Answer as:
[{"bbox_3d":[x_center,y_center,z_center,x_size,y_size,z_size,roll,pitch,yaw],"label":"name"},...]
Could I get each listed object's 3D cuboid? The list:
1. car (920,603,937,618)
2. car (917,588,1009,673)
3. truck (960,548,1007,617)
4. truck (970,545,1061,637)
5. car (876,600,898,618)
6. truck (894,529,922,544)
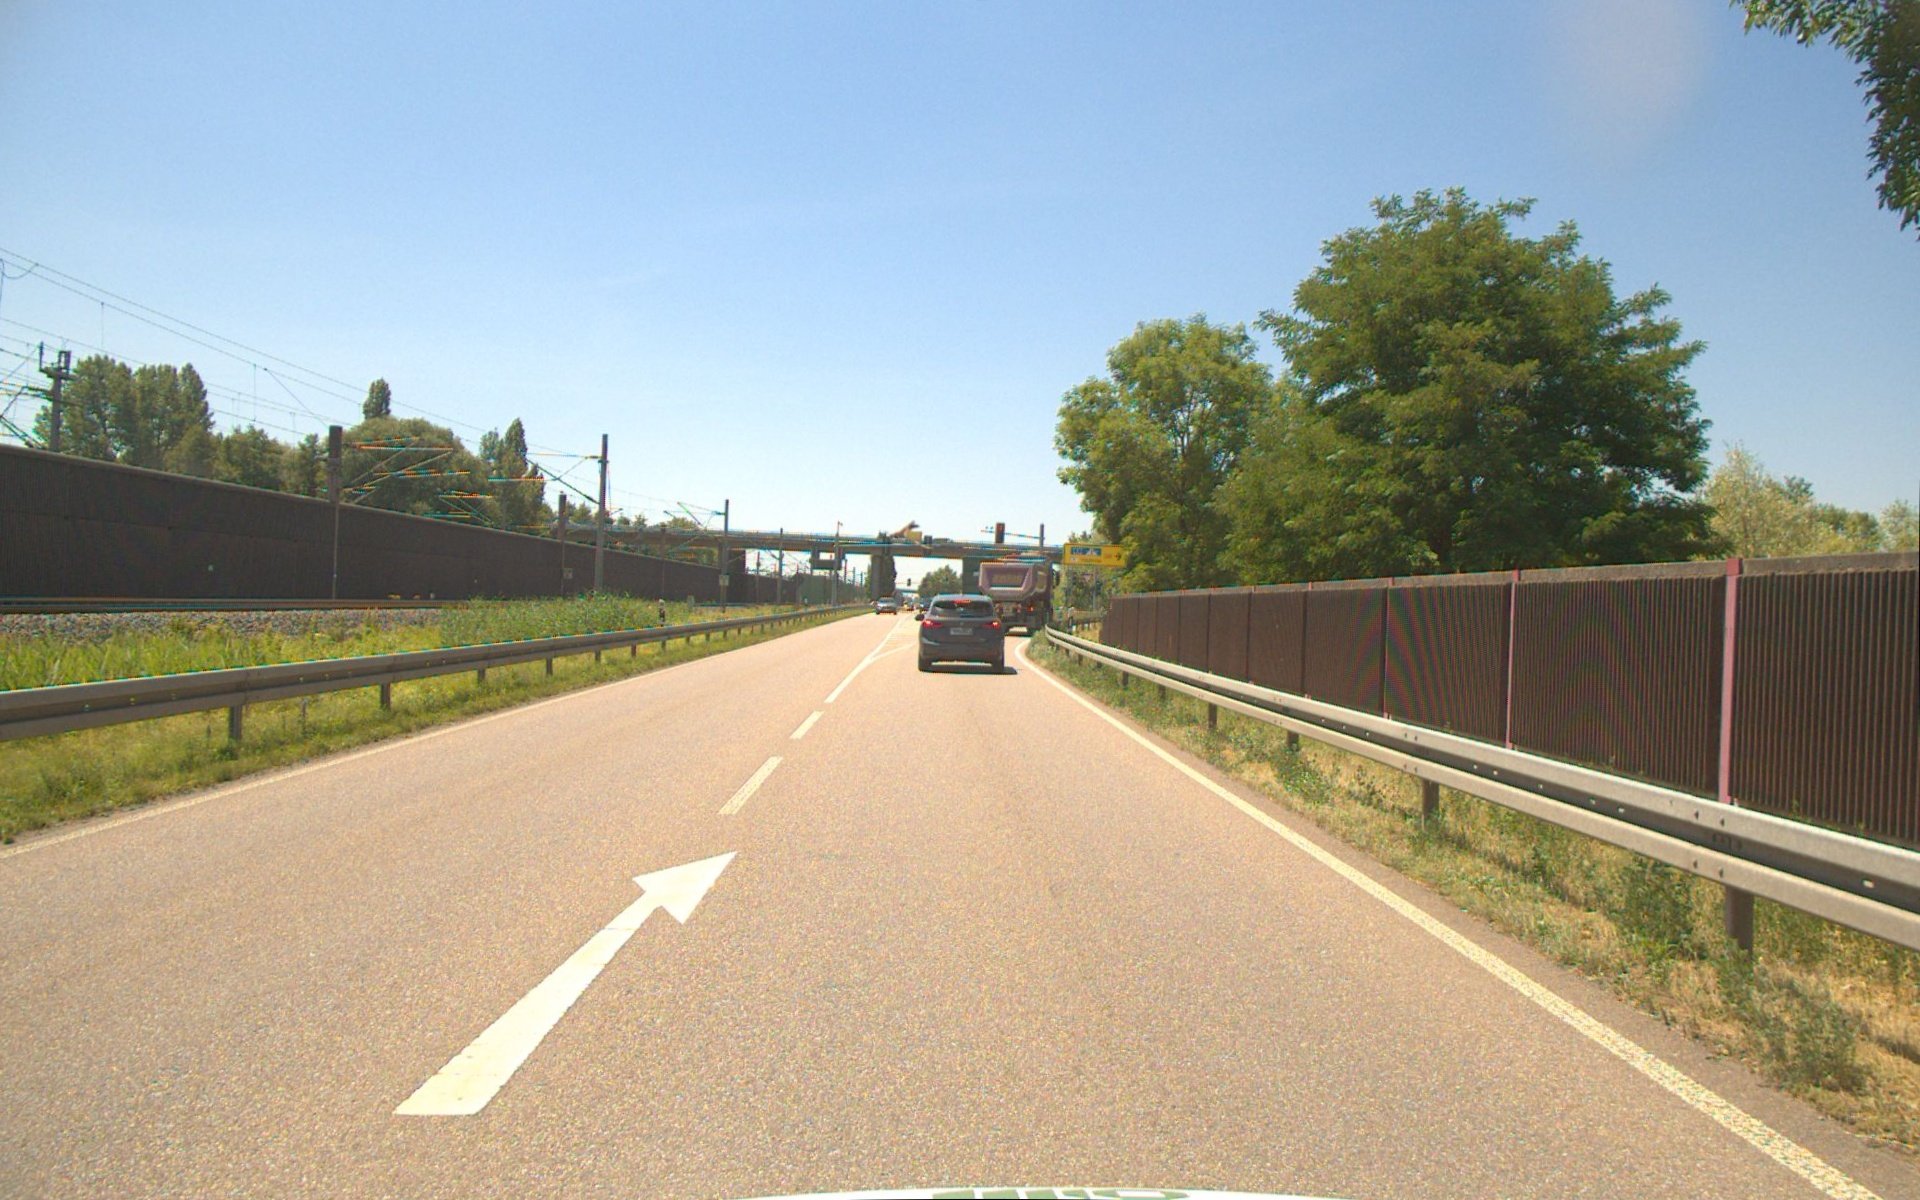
[{"bbox_3d":[-4.056,1.353,213.378,1.887,1.798,4.598,2,1,1],"label":"car"},{"bbox_3d":[0.082,0.611,35.187,1.807,1.651,4.226,1,0,1],"label":"car"},{"bbox_3d":[1.363,-1.007,98.217,2.536,3.803,9.575,1,0,0],"label":"truck"},{"bbox_3d":[2.724,-0.359,76.529,2.773,3.888,11.894,1,0,8],"label":"truck"},{"bbox_3d":[-6.379,0.805,143.949,1.827,1.511,4.884,1,0,-3],"label":"car"},{"bbox_3d":[-7.530,-9.275,240.427,3.903,2.049,2.001,1,0,5],"label":"truck"}]
